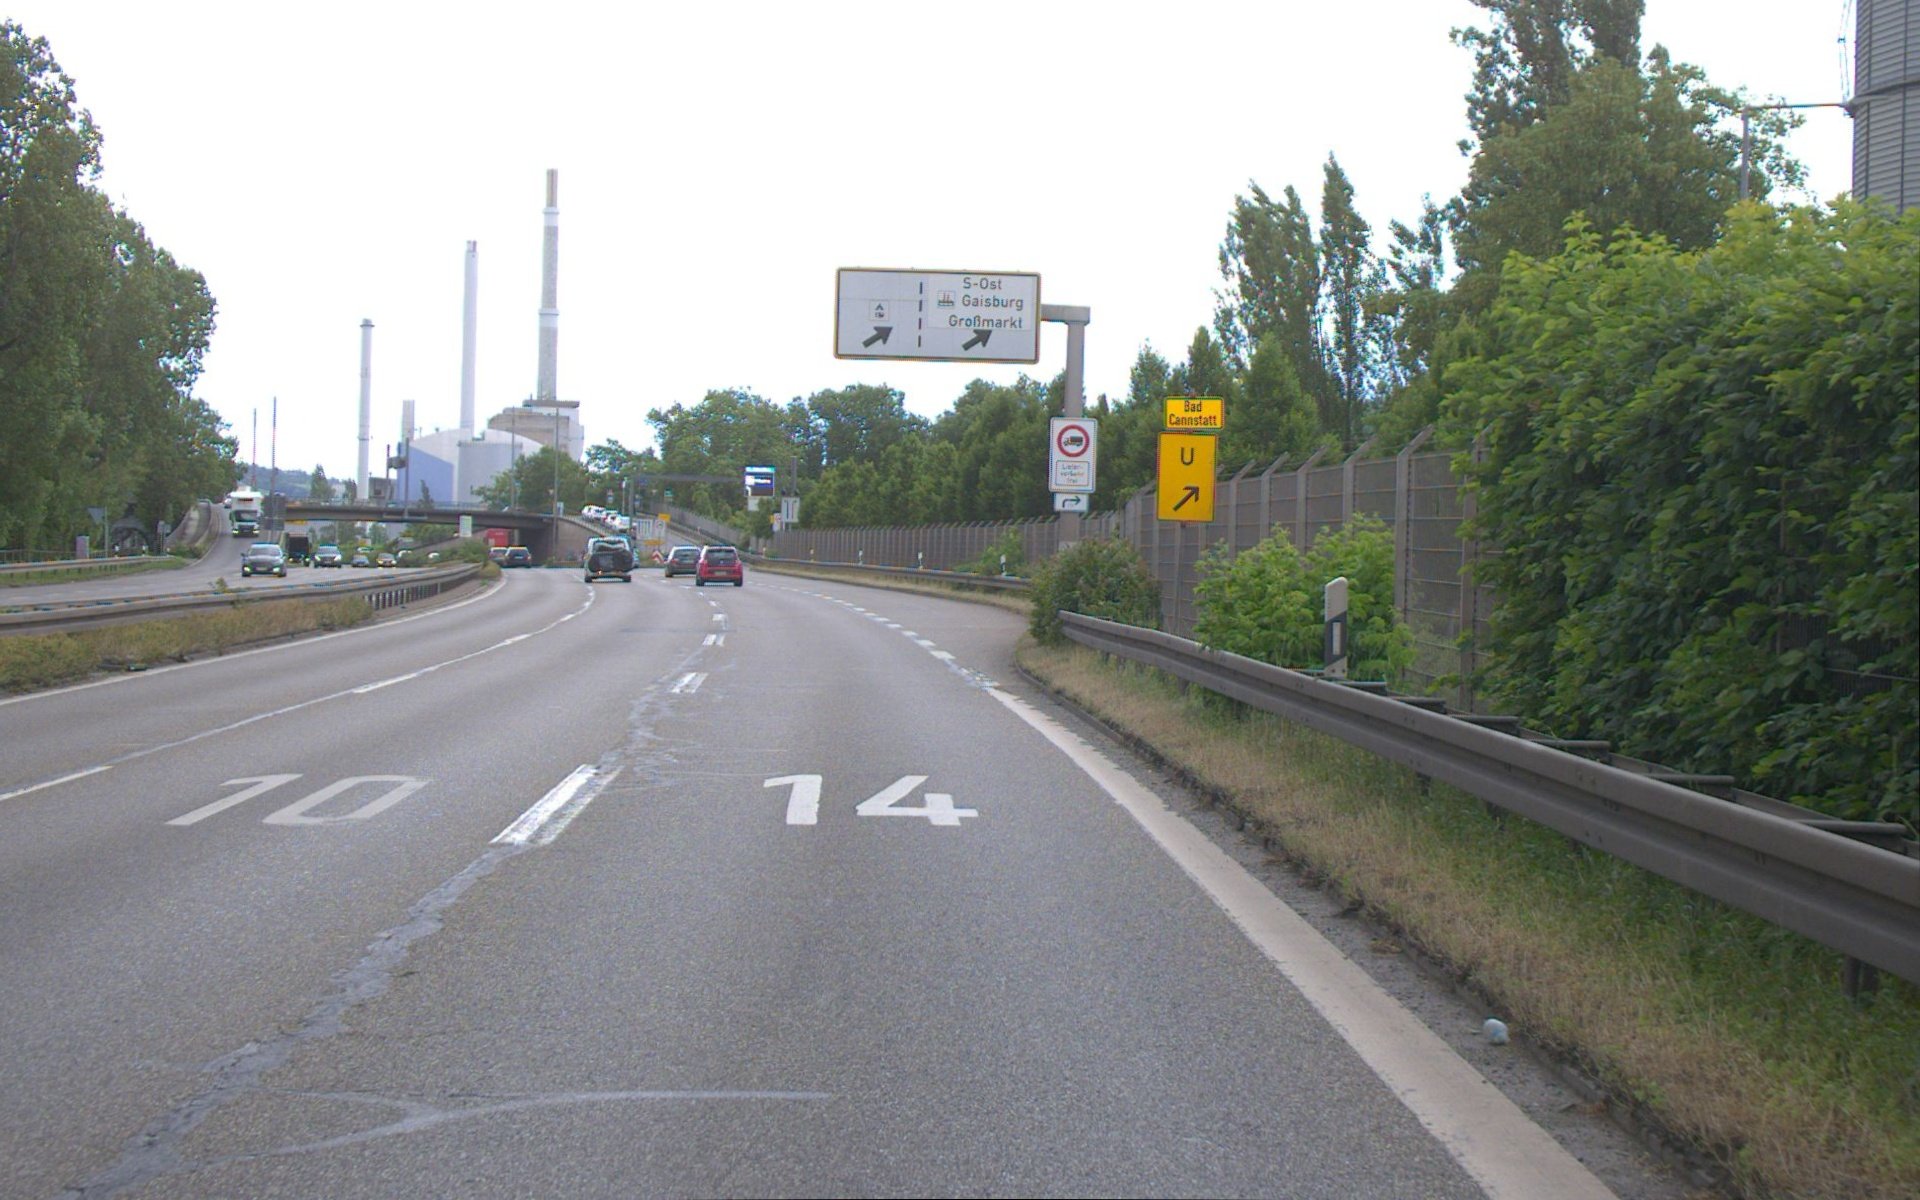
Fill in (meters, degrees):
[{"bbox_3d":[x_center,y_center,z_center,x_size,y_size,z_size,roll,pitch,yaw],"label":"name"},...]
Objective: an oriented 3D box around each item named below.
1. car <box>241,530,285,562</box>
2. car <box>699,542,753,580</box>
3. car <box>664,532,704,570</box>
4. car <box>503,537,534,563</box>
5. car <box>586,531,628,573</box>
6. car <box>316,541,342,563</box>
[{"bbox_3d":[-31.891,-2.473,157.350,1.697,1.408,4.639,0,1,-8],"label":"car"},{"bbox_3d":[-9.035,-1.499,132.276,1.974,1.418,4.901,0,1,-5],"label":"car"},{"bbox_3d":[-12.903,-2.315,160.691,1.697,1.736,4.394,0,1,-7],"label":"car"},{"bbox_3d":[-29.626,-3.378,230.457,1.697,1.736,4.394,0,1,-12],"label":"car"},{"bbox_3d":[-14.775,-2.029,143.823,1.697,1.736,4.001,0,1,-6],"label":"car"},{"bbox_3d":[-42.290,-3.237,230.556,1.697,1.408,4.639,0,1,-10],"label":"car"}]
